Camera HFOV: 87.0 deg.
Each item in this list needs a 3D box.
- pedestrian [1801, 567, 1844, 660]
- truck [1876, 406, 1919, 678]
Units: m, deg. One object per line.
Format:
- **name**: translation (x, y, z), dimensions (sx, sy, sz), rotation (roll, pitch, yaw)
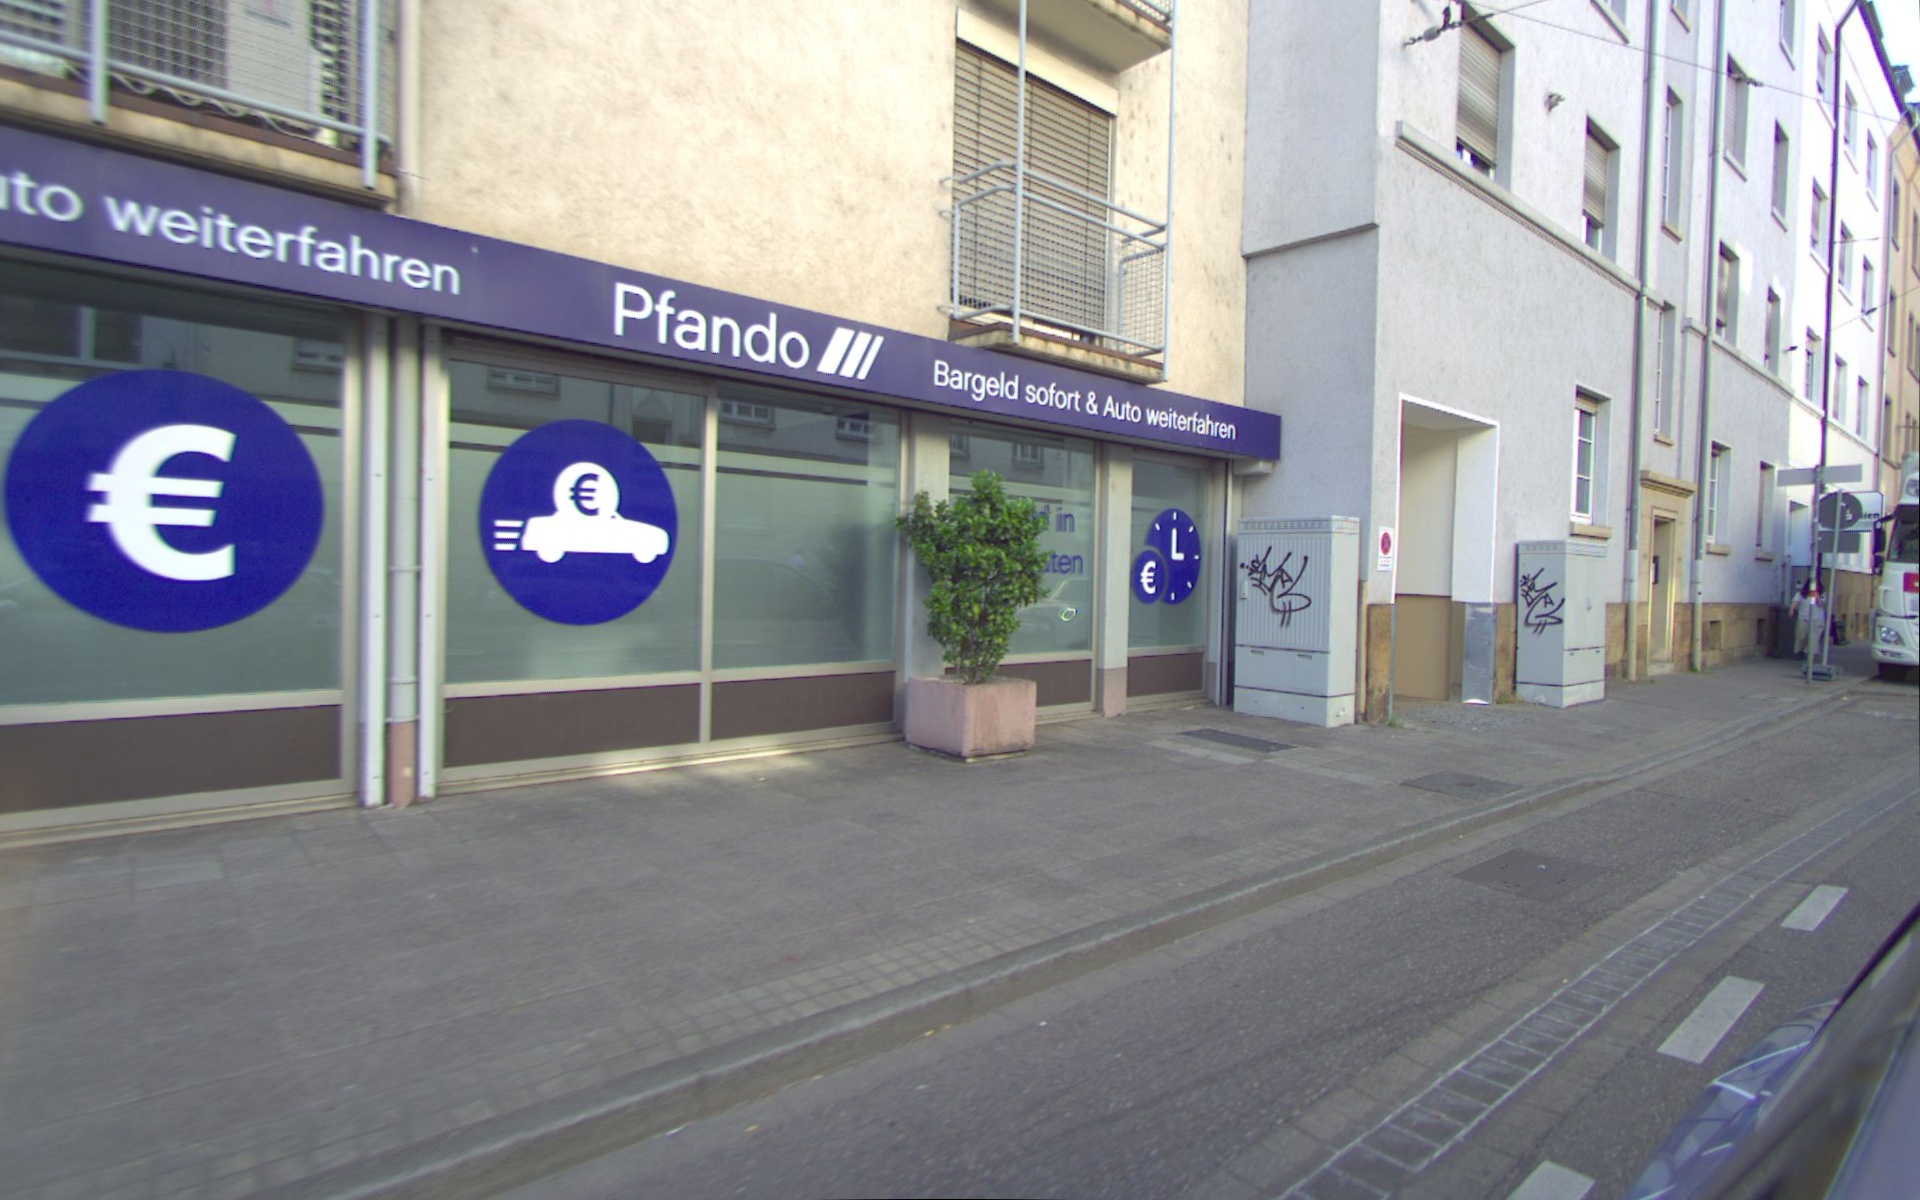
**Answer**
- **pedestrian**: translation (15.564, 0.230, 18.268), dimensions (0.459, 1.649, 0.475), rotation (-1, 2, -39)
- **truck**: translation (20.142, -1.011, 19.032), dimensions (11.570, 4.290, 2.699), rotation (-2, 2, -40)
